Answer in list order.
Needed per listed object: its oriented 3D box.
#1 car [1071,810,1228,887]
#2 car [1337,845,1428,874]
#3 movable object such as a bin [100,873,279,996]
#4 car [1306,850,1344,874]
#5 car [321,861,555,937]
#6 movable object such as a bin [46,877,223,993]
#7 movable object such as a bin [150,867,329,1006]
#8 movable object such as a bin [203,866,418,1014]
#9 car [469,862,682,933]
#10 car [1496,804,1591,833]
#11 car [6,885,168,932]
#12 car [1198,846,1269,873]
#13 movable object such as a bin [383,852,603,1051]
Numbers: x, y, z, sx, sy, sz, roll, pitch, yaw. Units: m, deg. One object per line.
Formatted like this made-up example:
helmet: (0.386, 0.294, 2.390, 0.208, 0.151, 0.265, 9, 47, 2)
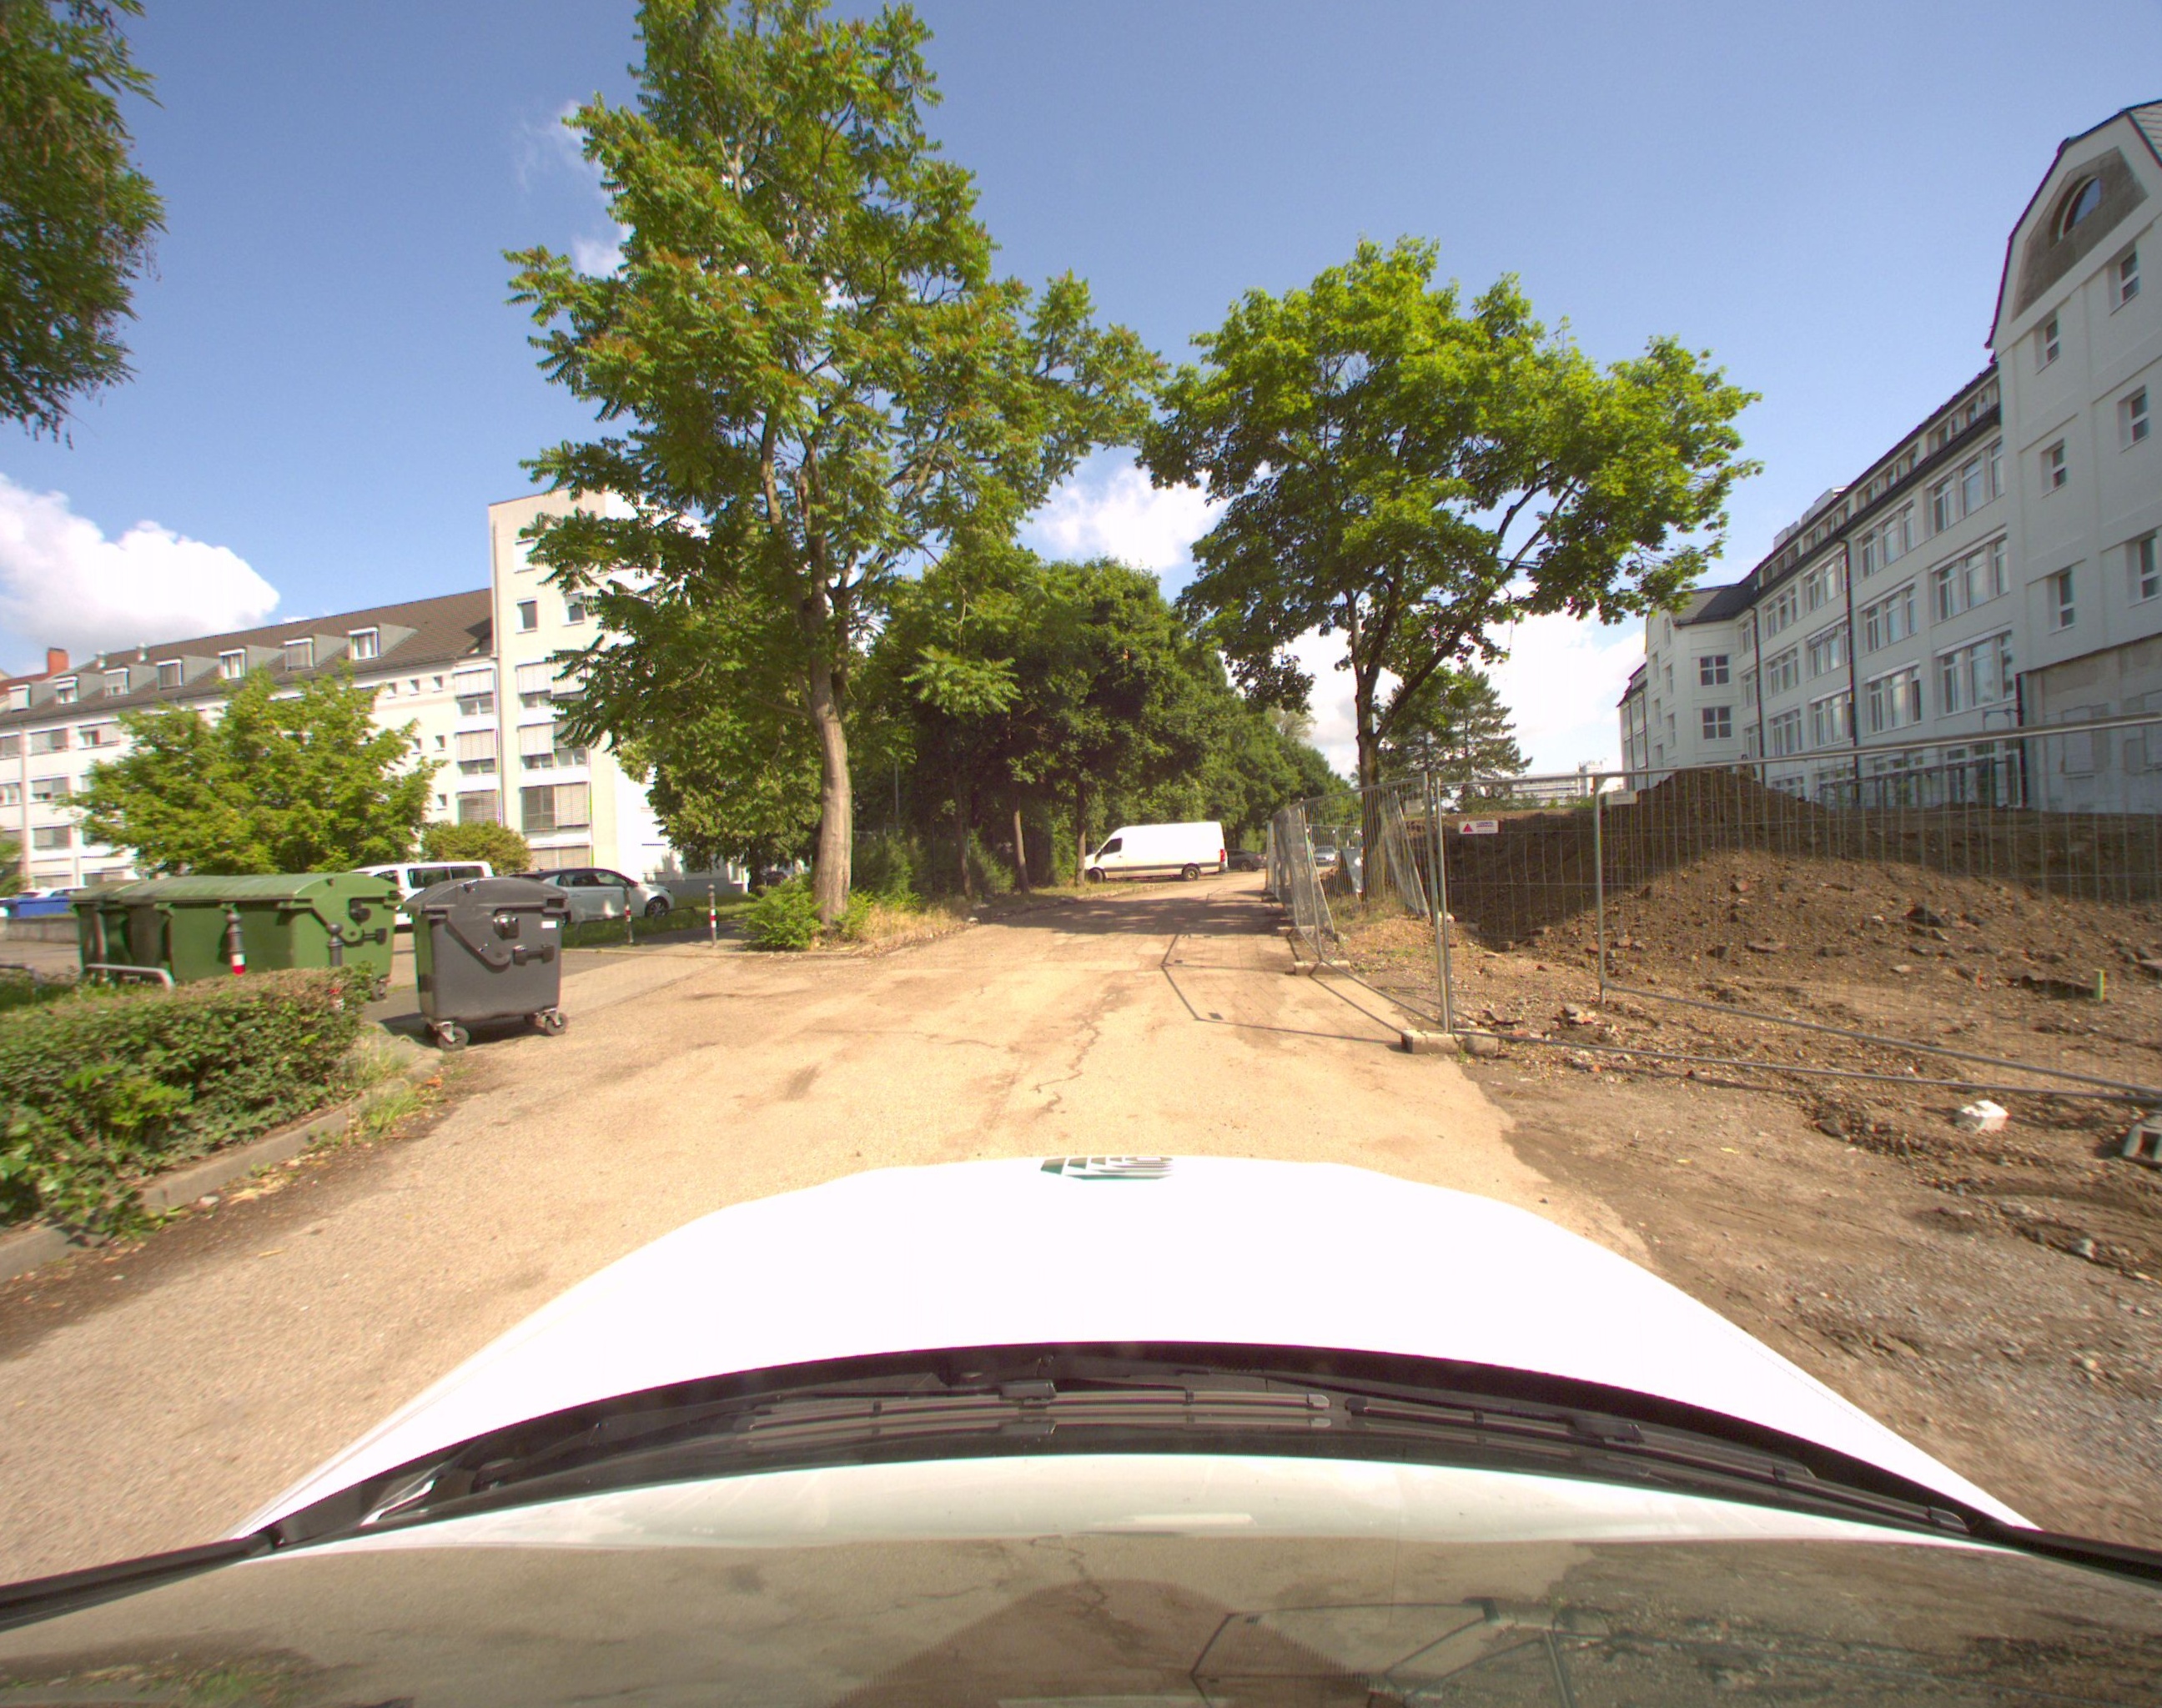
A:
car: (3.189, -0.265, 37.691, 6.915, 3.047, 2.004, 4, 0, 7)
car: (17.606, 0.316, 47.608, 4.810, 1.428, 1.855, 2, -2, 24)
movable object such as a bin: (-10.940, 0.956, 10.024, 1.221, 1.349, 0.950, 3, -2, 17)
car: (17.184, 0.610, 57.217, 1.822, 1.428, 4.022, 2, -2, 27)
car: (-18.572, 1.218, 23.859, 1.975, 1.965, 4.983, 0, -1, 25)
movable object such as a bin: (-12.373, 1.021, 10.673, 1.366, 1.349, 0.950, 3, -2, 17)
movable object such as a bin: (-9.755, 0.917, 9.471, 1.220, 1.452, 0.884, 3, -2, 17)
movable object such as a bin: (-8.520, 0.910, 9.063, 1.329, 1.452, 1.107, 3, -2, 15)
car: (-11.710, 0.932, 19.185, 1.738, 1.420, 3.938, 2, 0, 23)
car: (27.558, -2.128, 48.708, 4.810, 1.428, 1.855, 2, -2, 24)
car: (-43.550, 2.324, 35.821, 1.928, 1.745, 4.018, 3, 0, 18)
car: (9.286, 0.333, 49.505, 3.954, 1.428, 1.853, 3, -2, 20)
movable object such as a bin: (-5.273, 0.813, 7.306, 1.280, 1.482, 1.257, 5, -1, 43)
